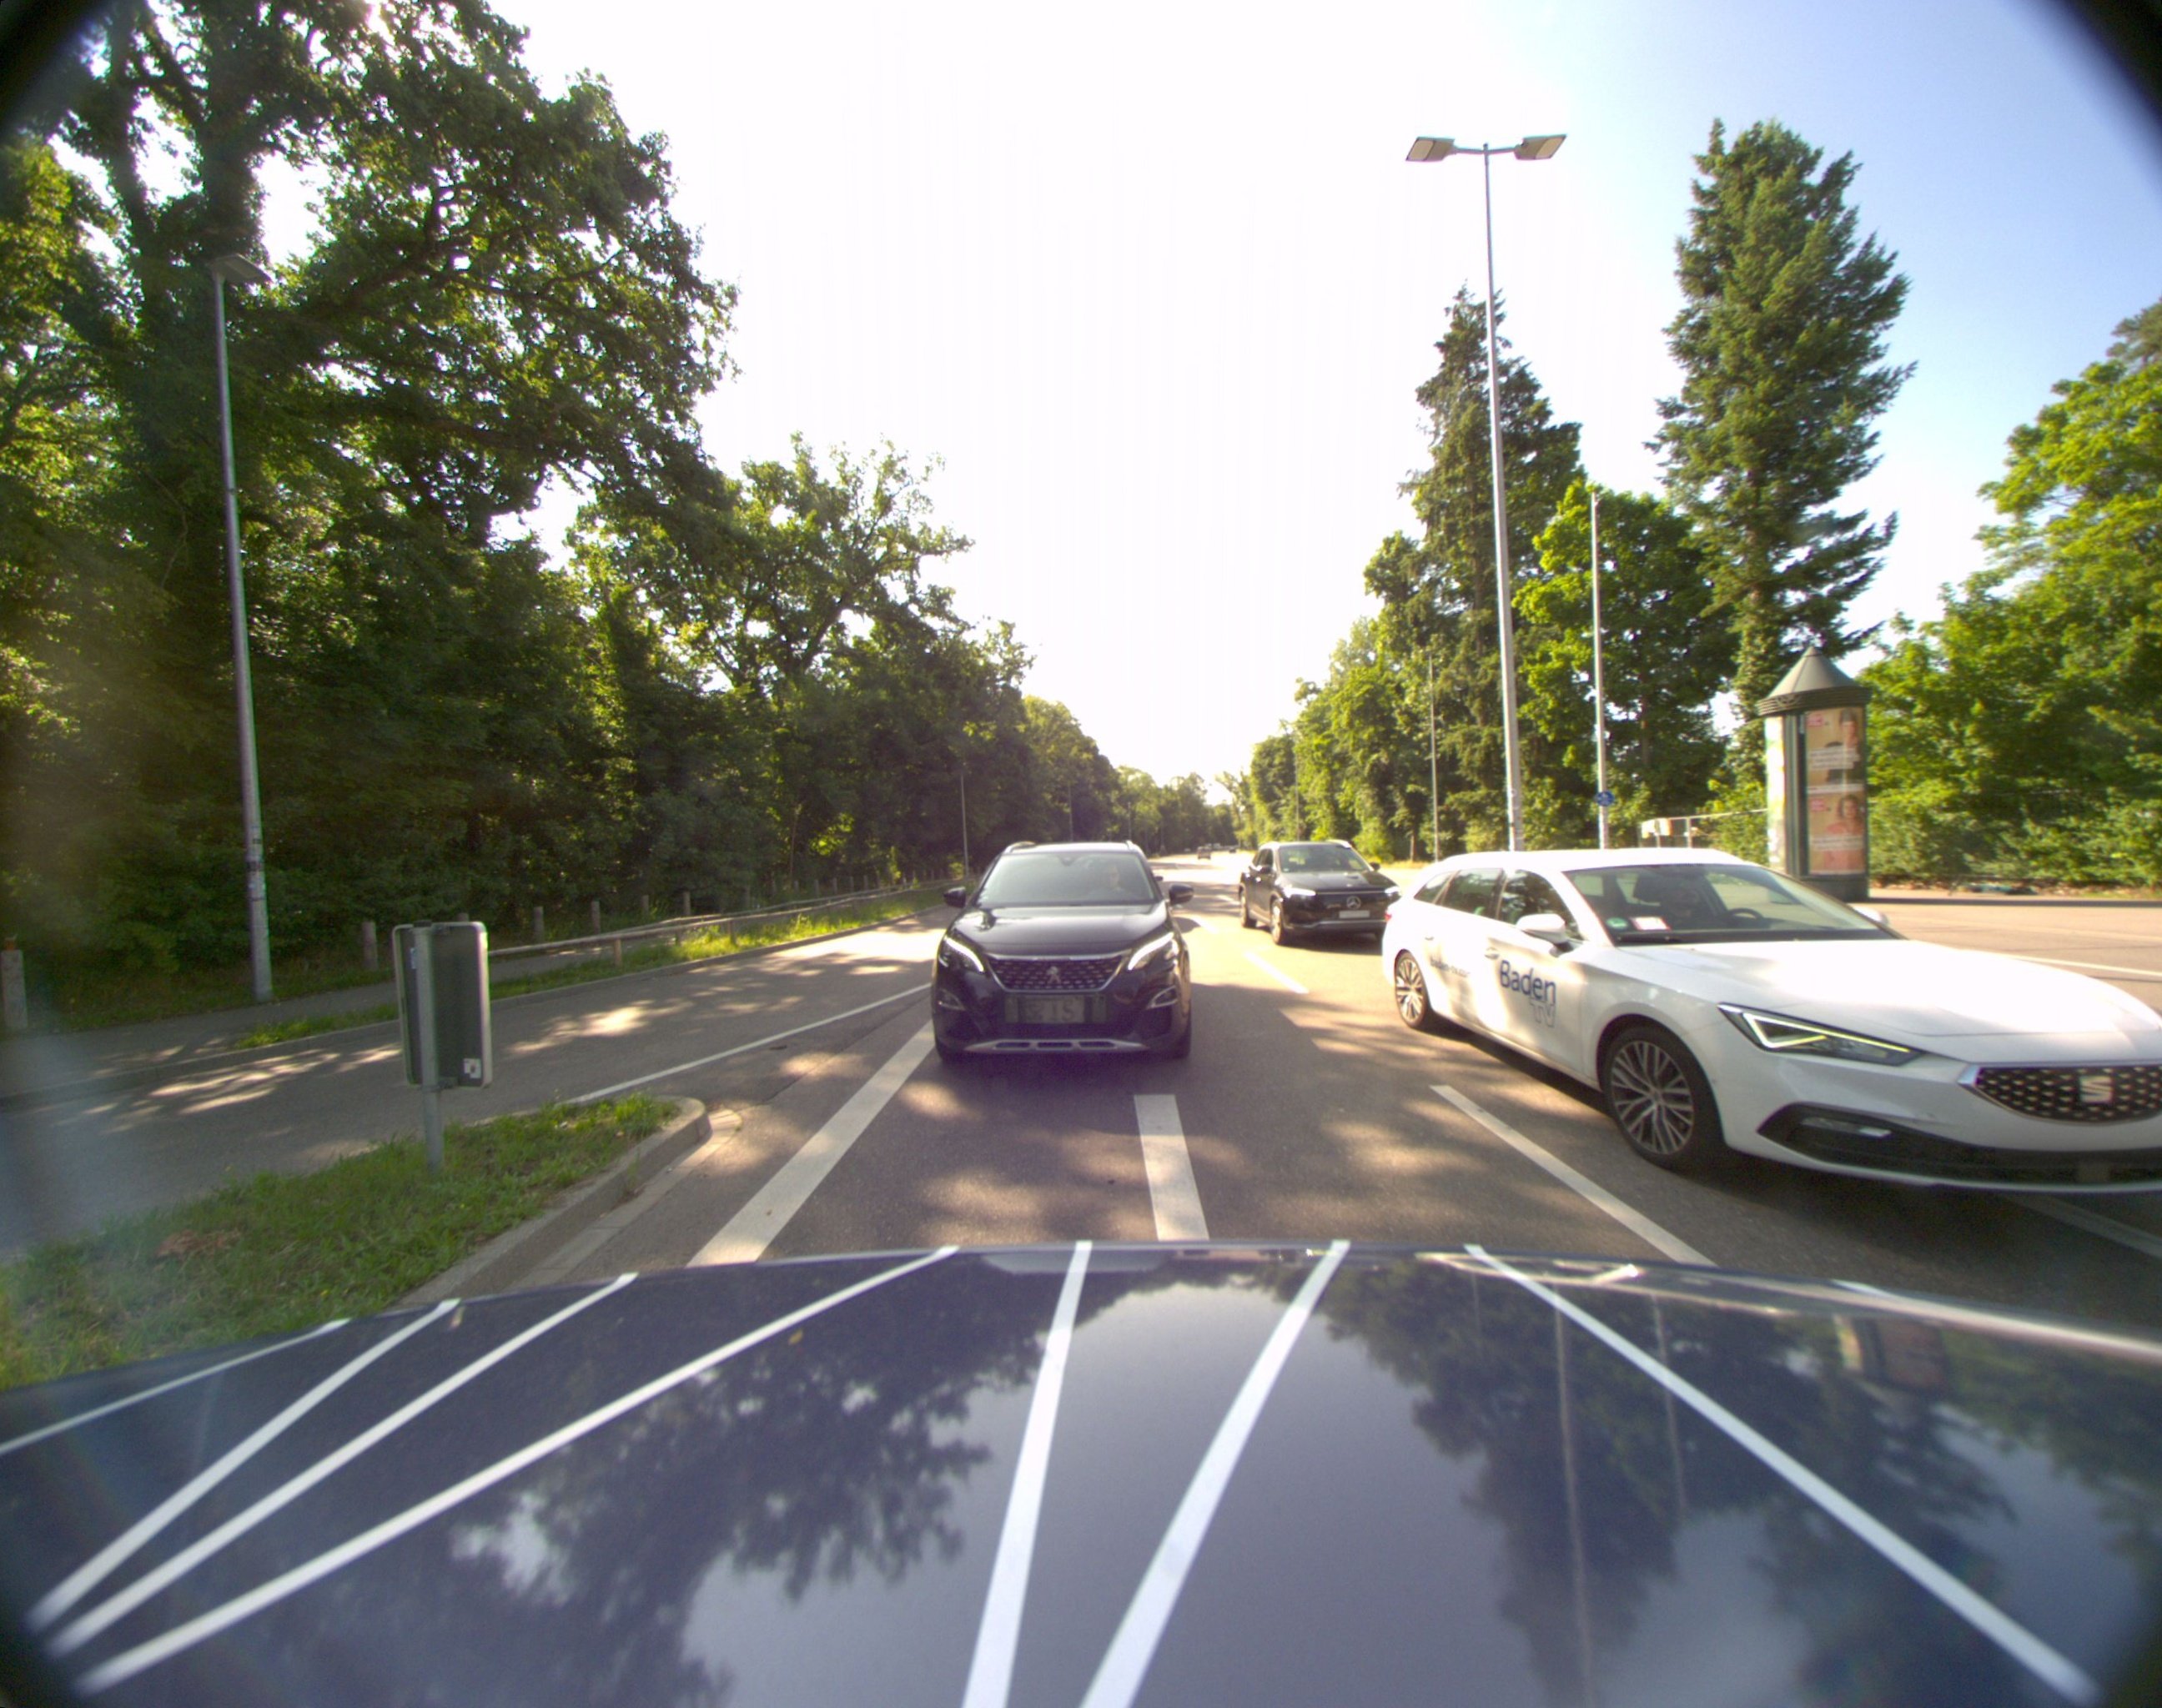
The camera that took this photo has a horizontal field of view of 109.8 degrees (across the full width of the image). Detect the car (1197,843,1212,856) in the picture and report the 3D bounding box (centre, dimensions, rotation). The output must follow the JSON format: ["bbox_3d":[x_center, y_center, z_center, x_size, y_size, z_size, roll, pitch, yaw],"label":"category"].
[{"bbox_3d":[18.179,-0.634,112.092,1.876,1.849,4.002,-2,1,7],"label":"car"}]

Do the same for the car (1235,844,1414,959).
[{"bbox_3d":[3.824,0.672,12.719,1.808,1.587,4.274,-1,0,3],"label":"car"}]

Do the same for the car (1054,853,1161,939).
[{"bbox_3d":[0.520,0.773,16.169,1.933,1.499,4.000,-2,1,1],"label":"car"}]

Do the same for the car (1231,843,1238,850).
[{"bbox_3d":[40.410,-1.985,200.326,1.855,1.608,4.003,-2,1,11],"label":"car"}]

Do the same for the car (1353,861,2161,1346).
[{"bbox_3d":[3.390,0.818,4.758,1.729,1.418,4.719,-1,1,1],"label":"car"}]

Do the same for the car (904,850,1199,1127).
[{"bbox_3d":[-0.140,0.800,6.709,1.702,1.581,4.319,-2,1,1],"label":"car"}]
